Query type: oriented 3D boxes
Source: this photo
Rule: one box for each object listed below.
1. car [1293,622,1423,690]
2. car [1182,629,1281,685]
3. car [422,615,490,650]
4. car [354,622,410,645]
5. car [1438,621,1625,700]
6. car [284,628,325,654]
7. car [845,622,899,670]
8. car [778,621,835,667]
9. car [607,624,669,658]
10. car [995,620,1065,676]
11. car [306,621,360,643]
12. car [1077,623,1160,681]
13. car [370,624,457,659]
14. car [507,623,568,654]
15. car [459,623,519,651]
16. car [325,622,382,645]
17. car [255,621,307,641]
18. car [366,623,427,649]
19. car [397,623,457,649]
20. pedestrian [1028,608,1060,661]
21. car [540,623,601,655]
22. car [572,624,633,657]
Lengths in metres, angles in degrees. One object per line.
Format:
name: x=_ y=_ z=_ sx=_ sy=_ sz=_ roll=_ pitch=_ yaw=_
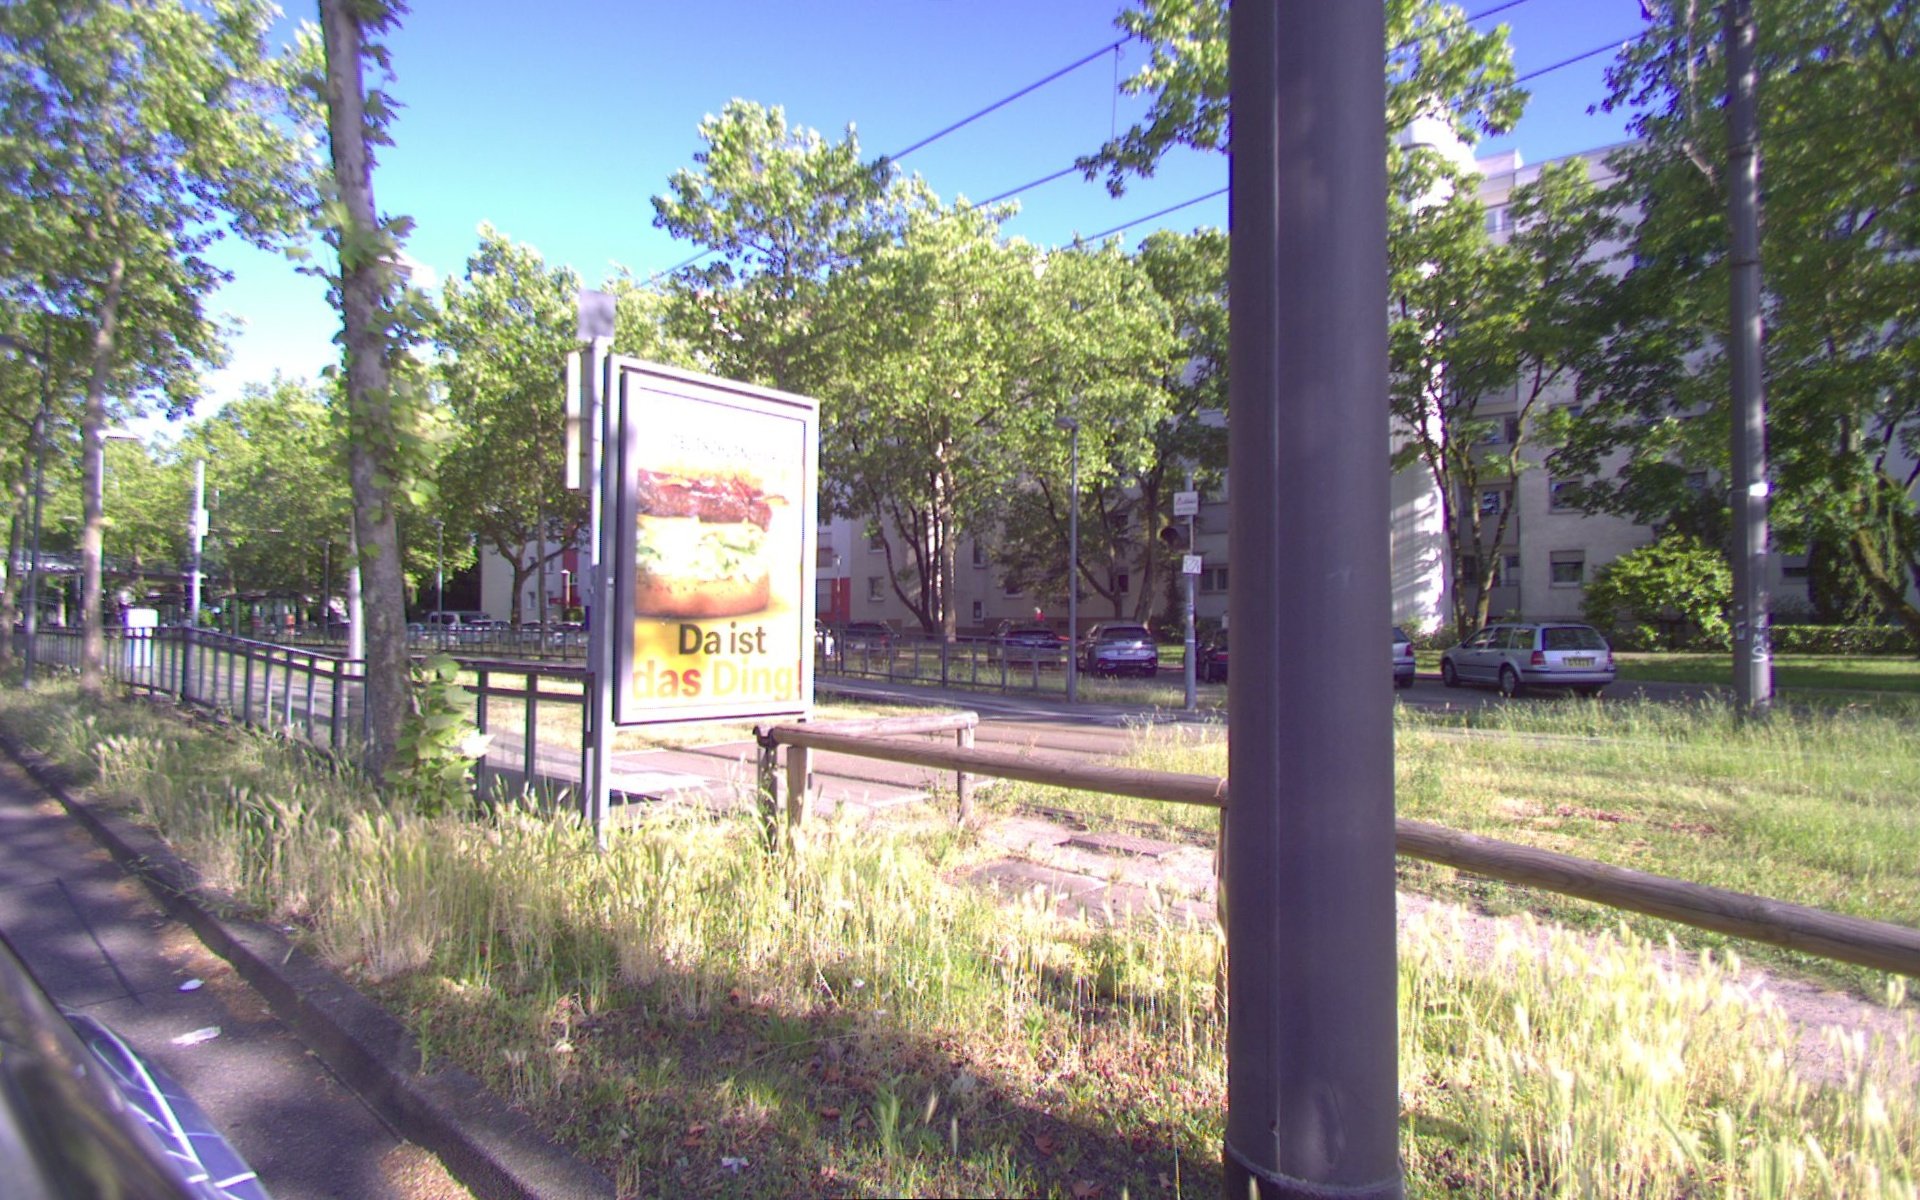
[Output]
car: x=9.156 y=1.237 z=23.588 sx=1.559 sy=1.413 sz=3.638 roll=-1 pitch=-1 yaw=0
car: x=6.688 y=1.376 z=25.275 sx=1.445 sy=1.234 sz=3.815 roll=-1 pitch=-1 yaw=0
car: x=-28.437 y=1.822 z=57.254 sx=1.814 sy=1.888 sz=4.323 roll=-1 pitch=-1 yaw=-2
car: x=-37.869 y=2.169 z=66.379 sx=1.633 sy=1.452 sz=3.805 roll=-1 pitch=-1 yaw=-2
car: x=11.487 y=1.160 z=20.662 sx=1.559 sy=1.413 sz=3.906 roll=-1 pitch=-1 yaw=0
car: x=-40.741 y=2.531 z=62.871 sx=2.817 sy=1.569 sz=1.558 roll=-2 pitch=-1 yaw=44
car: x=-2.962 y=1.525 z=34.647 sx=1.633 sy=1.522 sz=3.805 roll=-1 pitch=-1 yaw=-2
car: x=-5.552 y=1.567 z=37.016 sx=1.633 sy=1.522 sz=3.805 roll=-1 pitch=-1 yaw=-2
car: x=-14.048 y=1.763 z=44.335 sx=1.633 sy=1.366 sz=3.805 roll=-1 pitch=-1 yaw=-2
car: x=1.997 y=1.353 z=29.664 sx=1.633 sy=1.522 sz=3.805 roll=-1 pitch=-1 yaw=-2
car: x=-44.963 y=2.284 z=72.682 sx=1.633 sy=1.452 sz=3.805 roll=-1 pitch=-1 yaw=-2
car: x=4.231 y=1.363 z=27.517 sx=1.633 sy=1.413 sz=3.803 roll=-1 pitch=-1 yaw=0
car: x=-25.579 y=1.908 z=47.300 sx=4.630 sy=1.522 sz=1.637 roll=-1 pitch=-1 yaw=34
car: x=-21.322 y=1.937 z=51.183 sx=1.633 sy=1.452 sz=3.805 roll=-1 pitch=-1 yaw=-2
car: x=-25.855 y=1.997 z=55.659 sx=1.633 sy=1.452 sz=3.805 roll=-1 pitch=-1 yaw=-2
car: x=-40.822 y=2.224 z=68.192 sx=1.633 sy=1.452 sz=3.805 roll=-1 pitch=-1 yaw=-2
car: x=-53.033 y=2.398 z=79.154 sx=1.633 sy=1.452 sz=3.805 roll=-1 pitch=-1 yaw=-2
car: x=-33.678 y=2.111 z=60.602 sx=1.633 sy=1.452 sz=3.805 roll=-1 pitch=-1 yaw=-2
car: x=-31.316 y=2.080 z=59.599 sx=1.633 sy=1.452 sz=3.805 roll=-1 pitch=-1 yaw=-2
pedestrian: x=2.867 y=1.157 z=34.413 sx=0.786 sy=1.745 sz=0.755 roll=-1 pitch=0 yaw=39
car: x=-19.030 y=1.895 z=49.539 sx=1.633 sy=1.452 sz=3.805 roll=-1 pitch=-1 yaw=-2
car: x=-16.611 y=1.853 z=47.158 sx=1.633 sy=1.452 sz=3.805 roll=-1 pitch=-1 yaw=-2
